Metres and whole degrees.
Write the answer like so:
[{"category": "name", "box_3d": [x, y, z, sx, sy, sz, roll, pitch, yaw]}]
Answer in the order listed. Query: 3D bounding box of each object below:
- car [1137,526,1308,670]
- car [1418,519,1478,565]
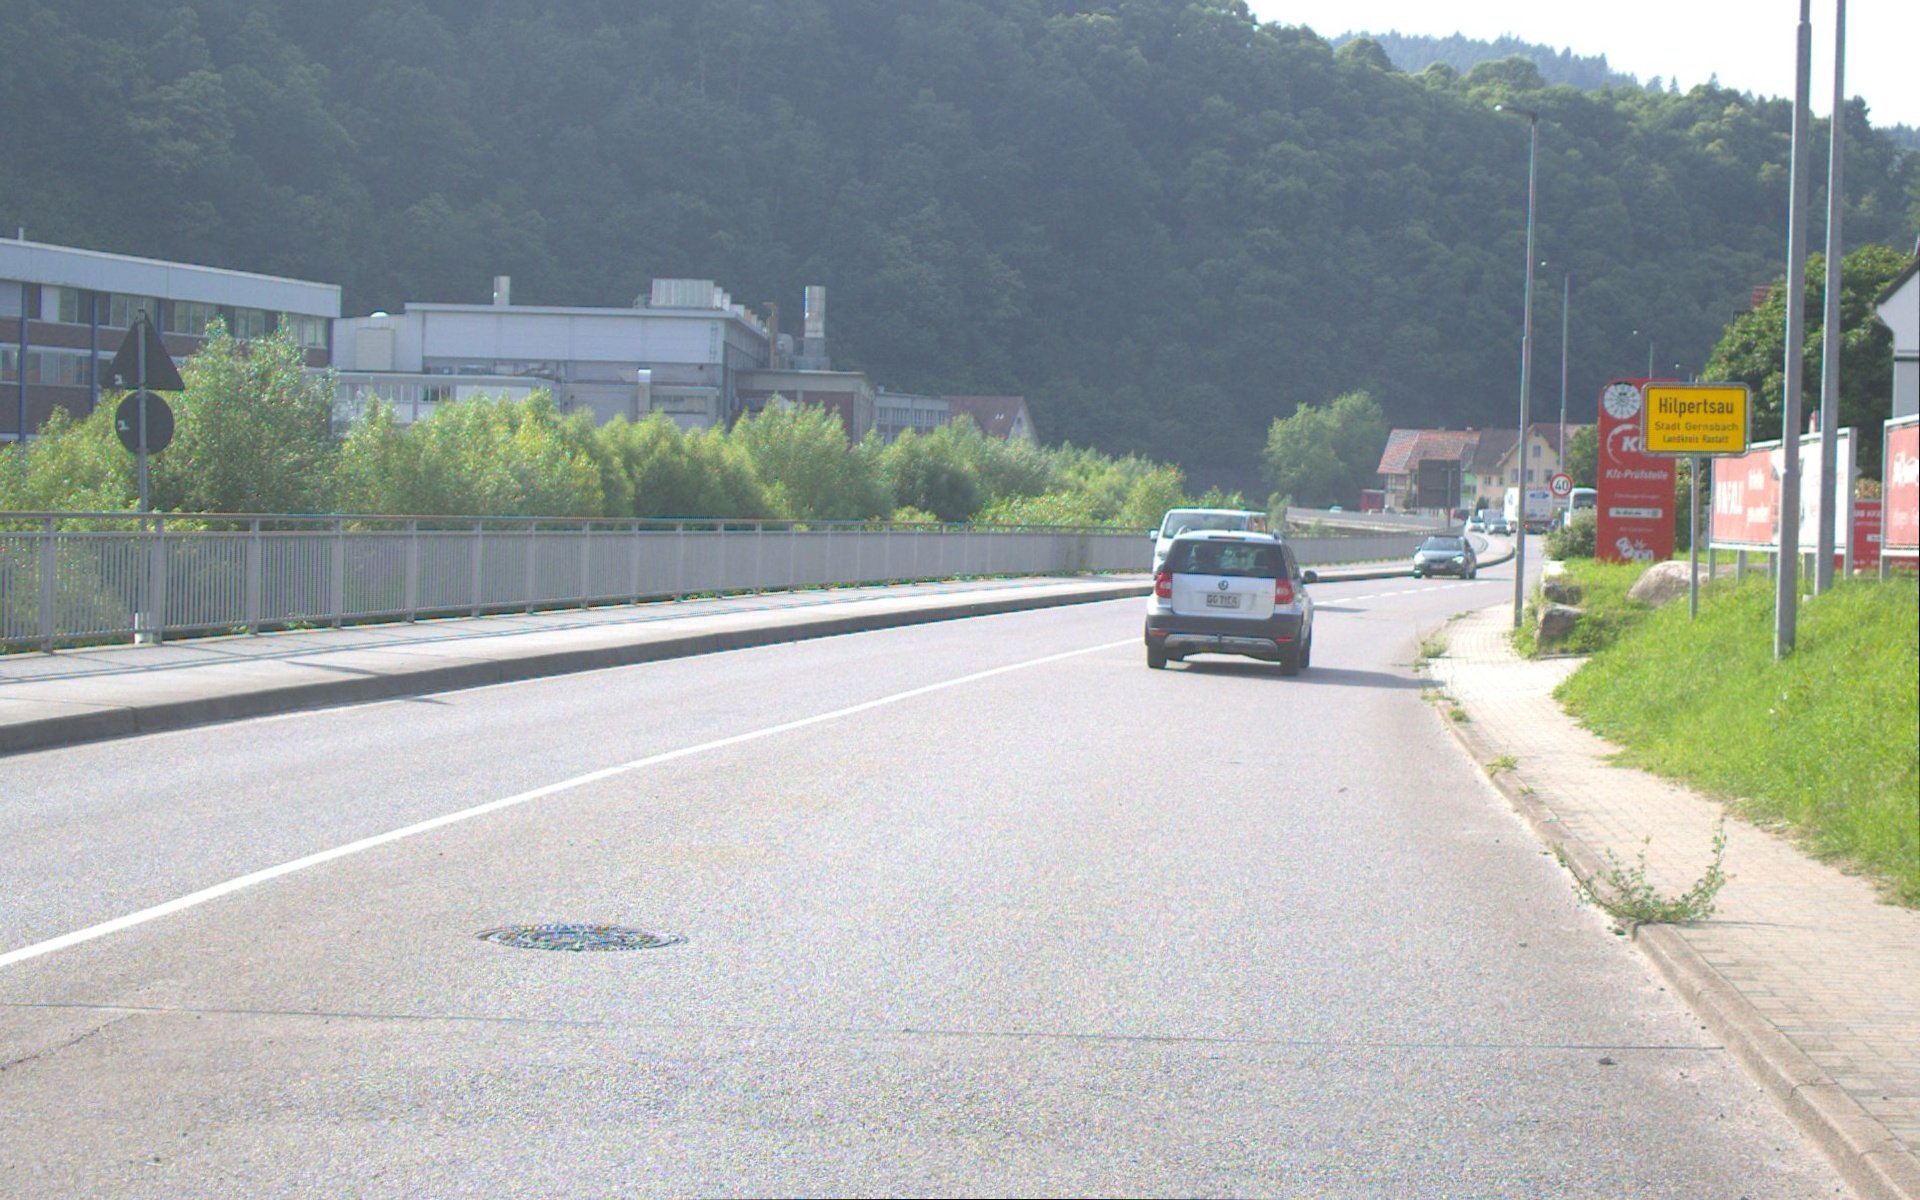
[{"category": "car", "box_3d": [3.102, -0.067, 40.879, 1.861, 1.539, 4.373, 2, 1, 4]}, {"category": "car", "box_3d": [16.709, -1.975, 117.581, 1.814, 1.479, 4.796, 2, 1, 10]}]
